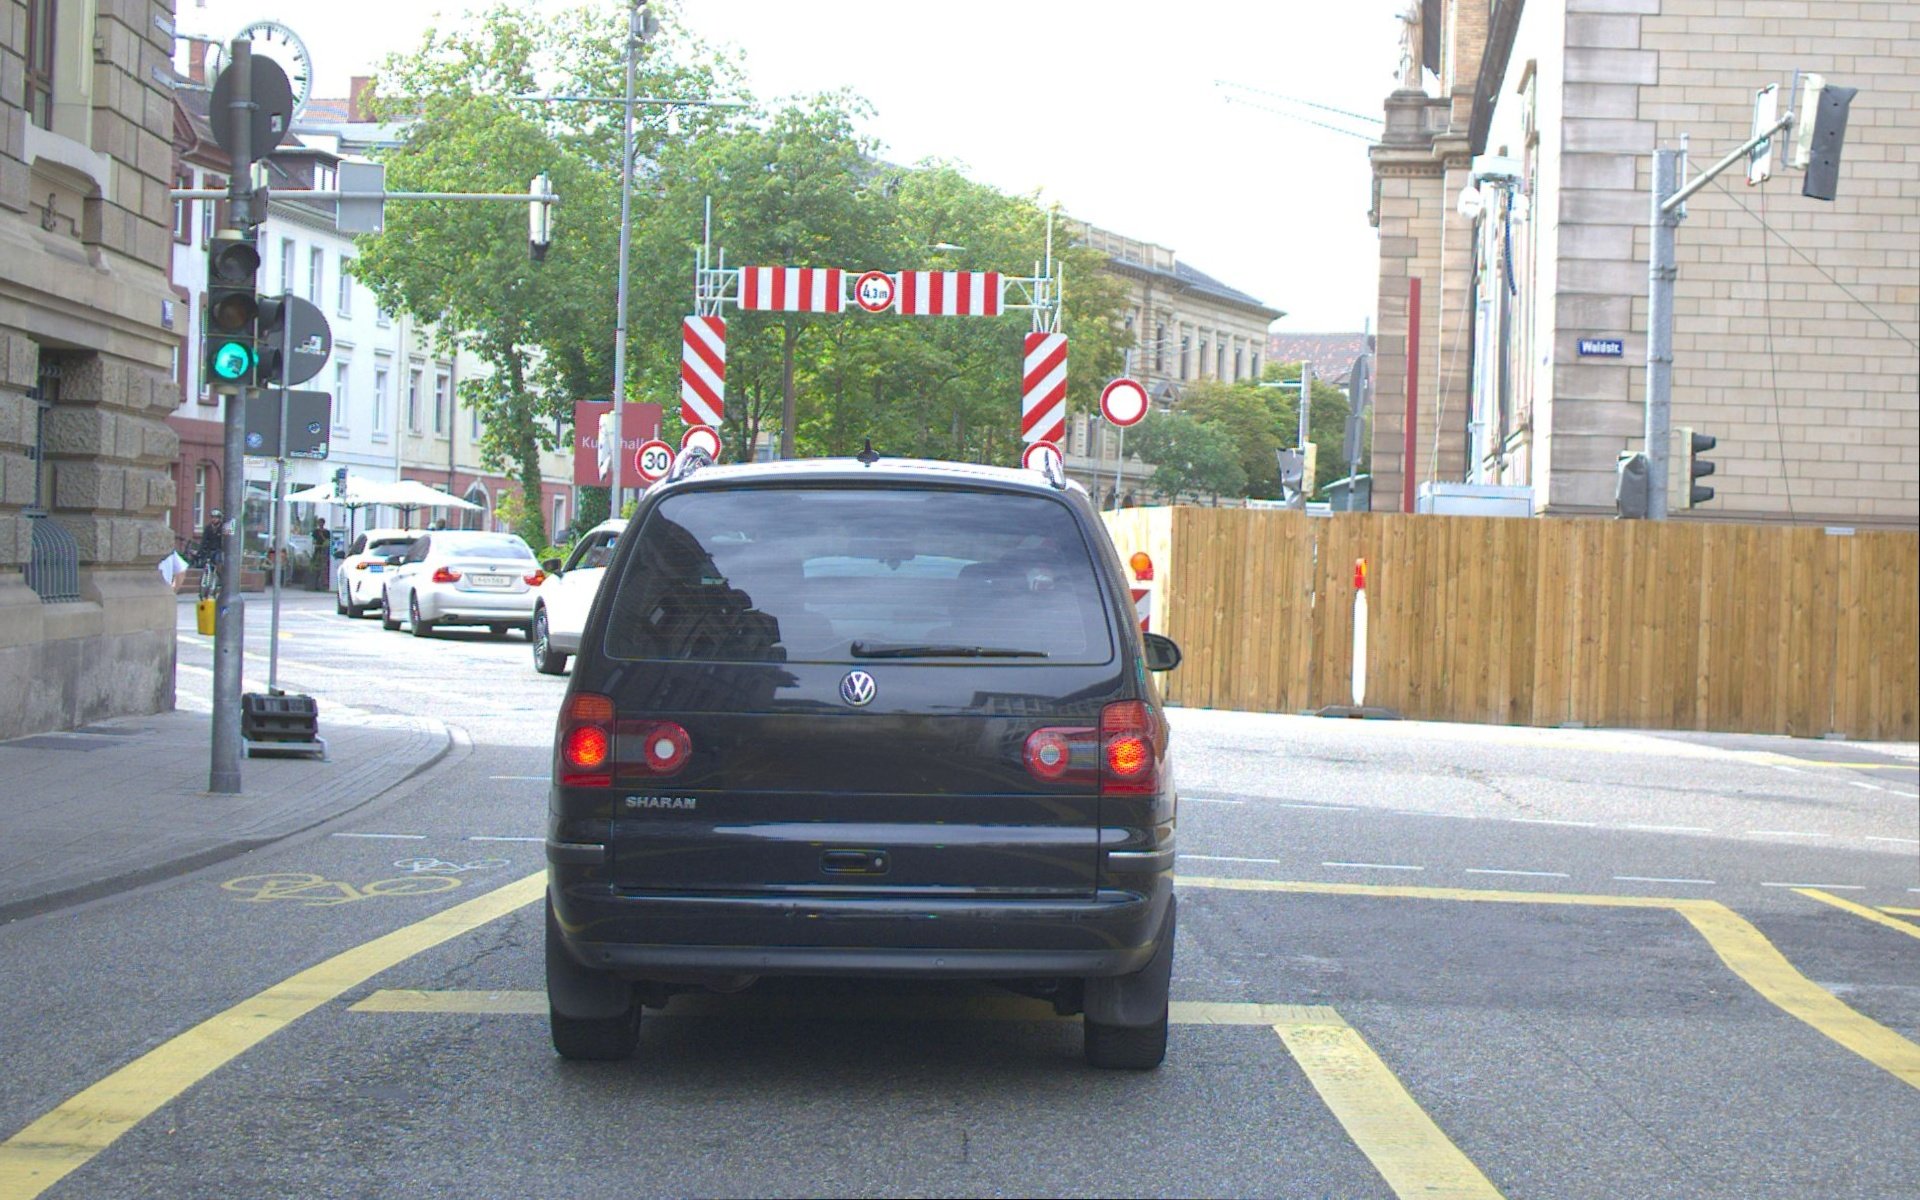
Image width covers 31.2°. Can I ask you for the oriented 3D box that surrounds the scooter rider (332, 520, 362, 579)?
[{"bbox_3d":[-15.661,-1.295,87.854,0.599,1.485,0.679,2,0,2],"label":"scooter rider"}]

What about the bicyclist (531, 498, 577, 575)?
[{"bbox_3d":[-9.517,-1.485,80.619,0.965,1.776,0.986,2,0,-3],"label":"bicyclist"}]

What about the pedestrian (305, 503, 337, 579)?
[{"bbox_3d":[-17.006,-1.567,91.467,0.585,2.007,0.686,2,0,11],"label":"pedestrian"}]

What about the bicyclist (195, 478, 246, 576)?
[{"bbox_3d":[-15.156,-1.493,70.447,0.925,1.956,1.106,2,0,-10],"label":"bicyclist"}]

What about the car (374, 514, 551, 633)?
[{"bbox_3d":[-6.714,-0.368,46.127,1.703,1.496,4.001,1,0,-17],"label":"car"}]

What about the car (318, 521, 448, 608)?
[{"bbox_3d":[-9.277,-0.573,55.066,1.649,1.317,3.676,1,0,-16],"label":"car"}]

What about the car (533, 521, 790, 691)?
[{"bbox_3d":[-3.076,0.032,34.724,1.772,1.580,4.001,1,0,-17],"label":"car"}]

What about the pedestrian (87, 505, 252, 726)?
[{"bbox_3d":[-6.793,0.130,29.565,1.045,1.813,0.794,4,0,12],"label":"pedestrian"}]

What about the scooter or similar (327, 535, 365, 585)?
[{"bbox_3d":[-15.676,-1.008,87.801,0.599,1.251,1.552,2,0,3],"label":"scooter or similar"}]

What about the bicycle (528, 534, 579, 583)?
[{"bbox_3d":[-9.519,-0.973,80.663,0.965,1.108,2.790,2,0,-3],"label":"bicycle"}]

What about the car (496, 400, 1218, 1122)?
[{"bbox_3d":[-0.247,0.396,10.867,1.789,1.784,4.103,2,0,1],"label":"car"}]

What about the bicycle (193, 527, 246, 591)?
[{"bbox_3d":[-15.169,-0.837,70.464,0.925,1.251,2.542,2,0,-10],"label":"bicycle"}]
